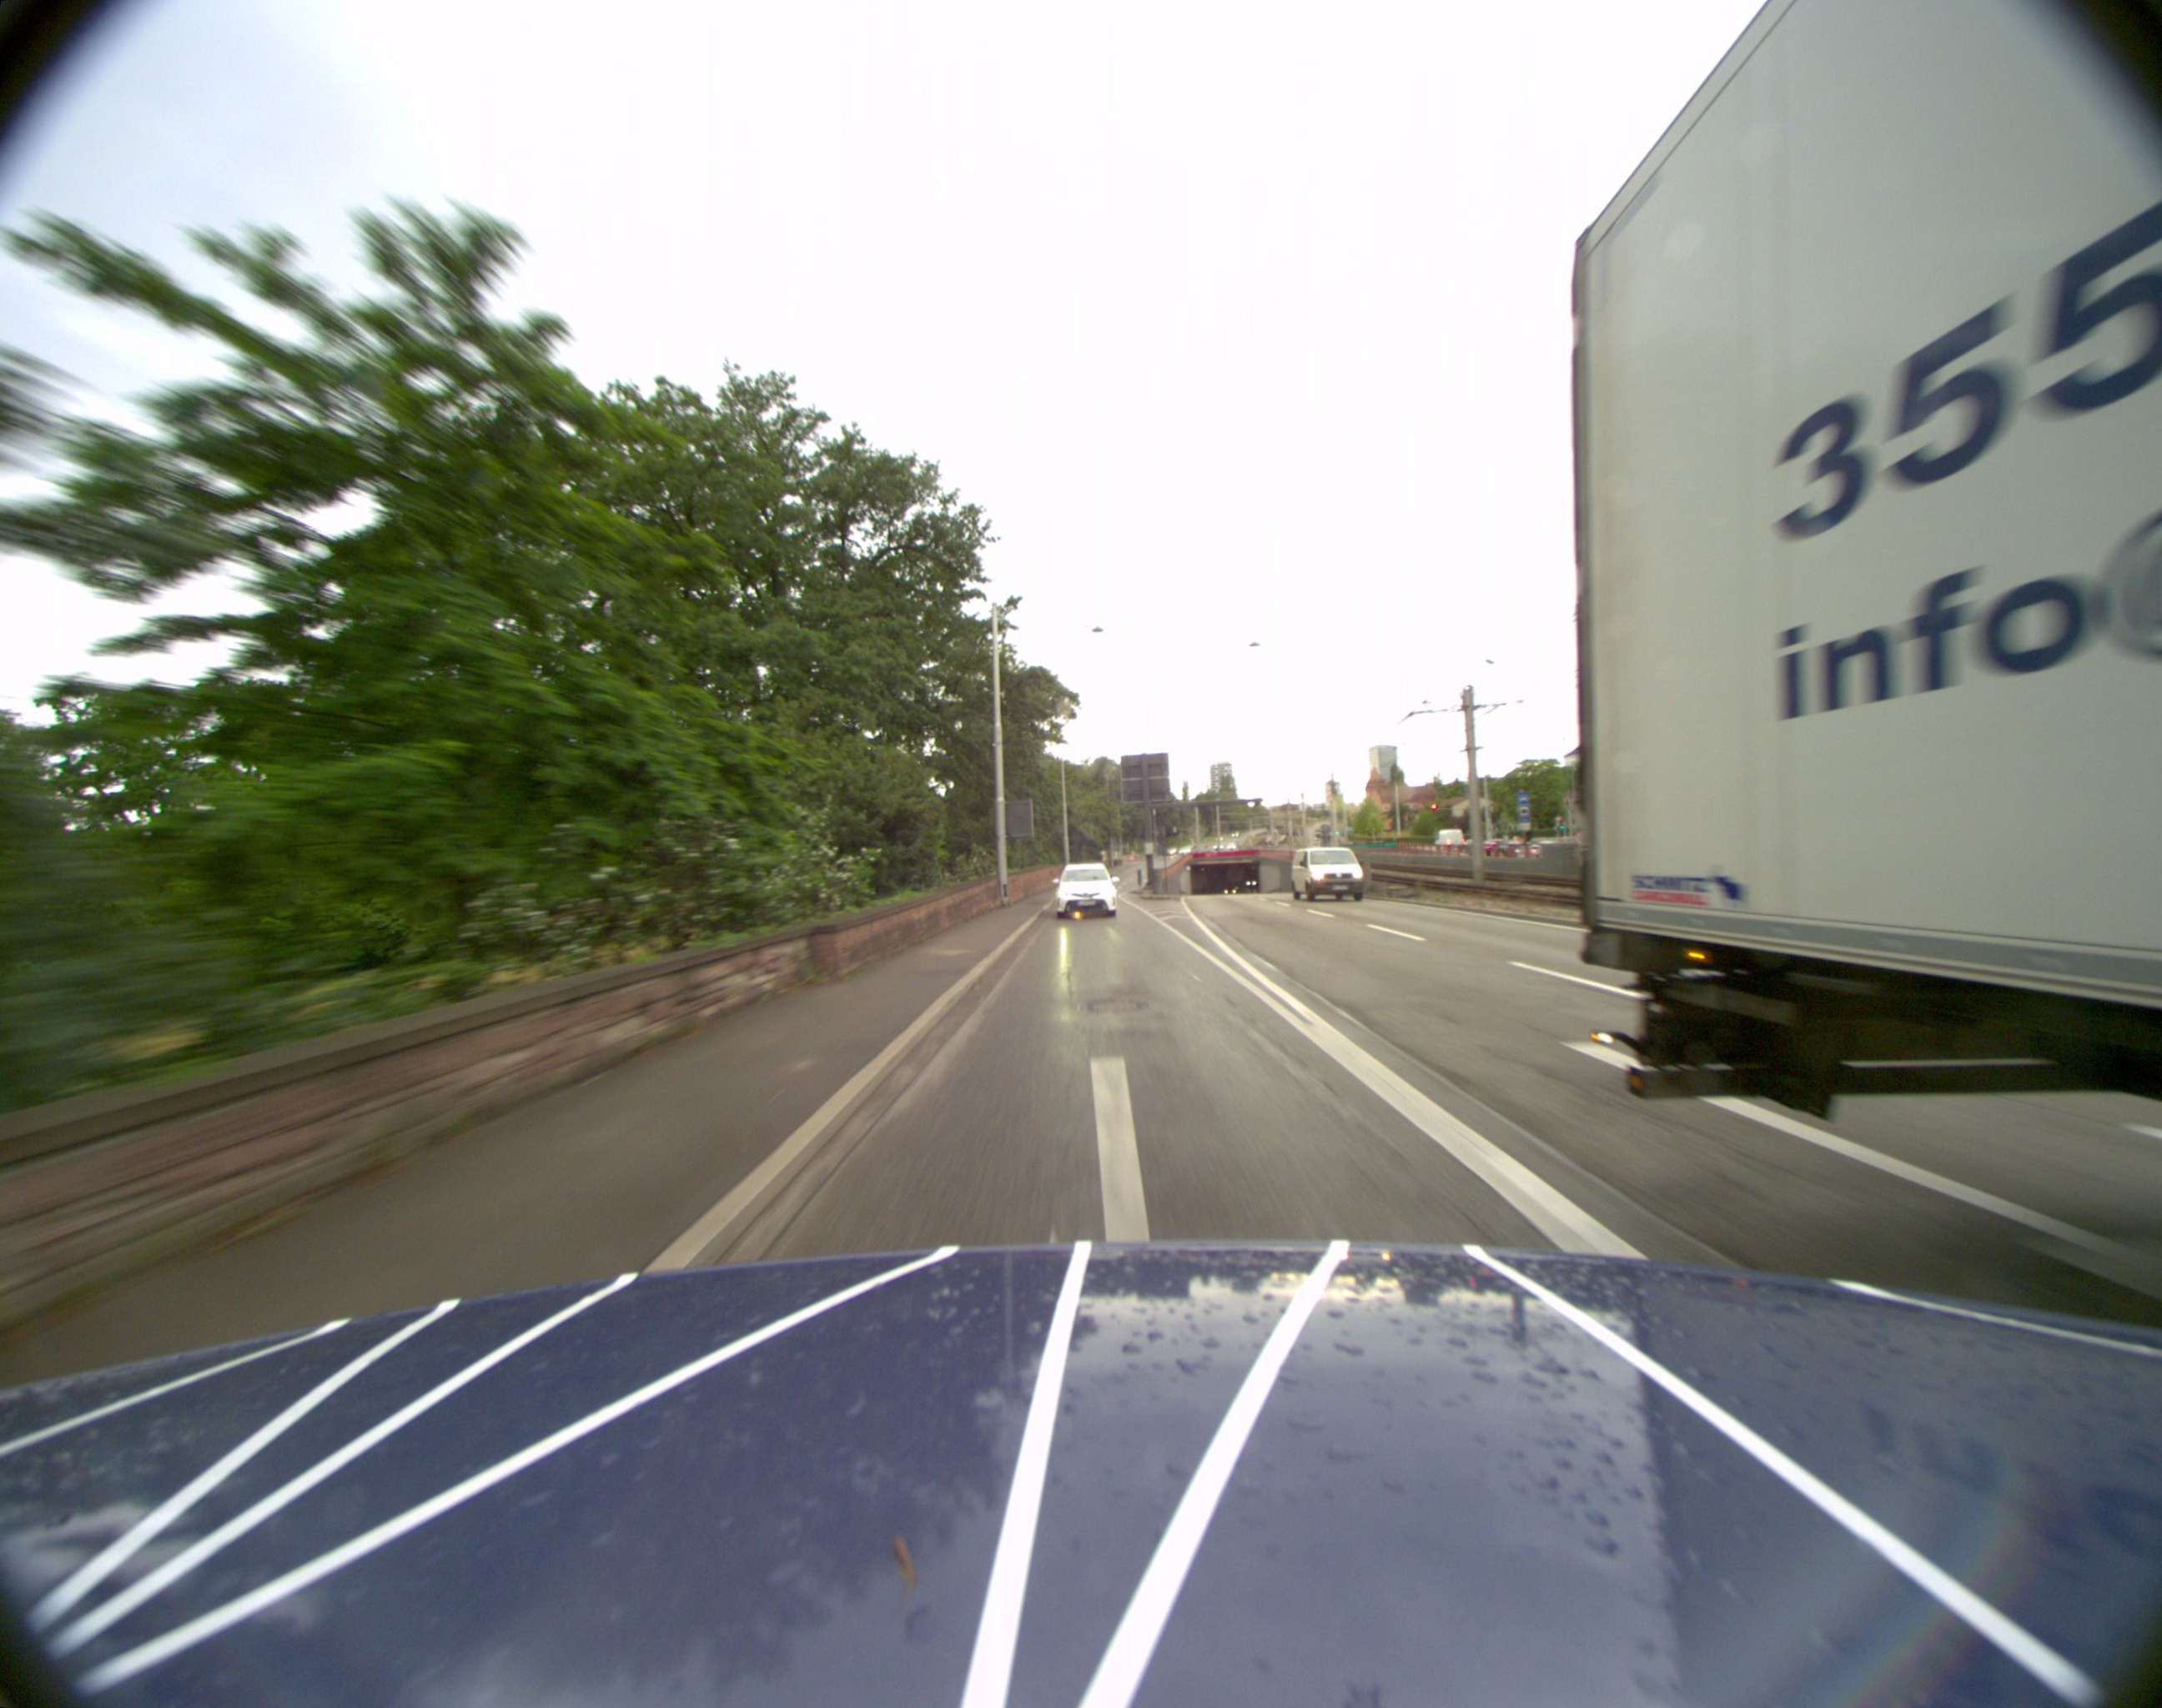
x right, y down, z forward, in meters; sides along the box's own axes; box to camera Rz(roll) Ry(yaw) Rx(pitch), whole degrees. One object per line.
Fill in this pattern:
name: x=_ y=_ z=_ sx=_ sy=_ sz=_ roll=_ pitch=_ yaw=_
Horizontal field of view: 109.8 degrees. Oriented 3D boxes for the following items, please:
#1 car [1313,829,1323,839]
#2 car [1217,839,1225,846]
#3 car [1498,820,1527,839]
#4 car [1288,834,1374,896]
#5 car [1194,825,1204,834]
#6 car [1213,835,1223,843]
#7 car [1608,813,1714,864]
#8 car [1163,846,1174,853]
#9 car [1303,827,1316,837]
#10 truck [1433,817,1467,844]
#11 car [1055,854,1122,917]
car: x=56.192 y=-4.706 z=180.149 sx=1.996 sy=2.003 sz=4.002 roll=-3 pitch=4 yaw=16
car: x=34.814 y=-2.826 z=188.465 sx=1.800 sy=1.463 sz=4.002 roll=-3 pitch=2 yaw=12
car: x=51.781 y=-2.999 z=91.323 sx=1.996 sy=2.003 sz=4.205 roll=-3 pitch=4 yaw=15
car: x=9.167 y=0.489 z=28.286 sx=1.998 sy=2.014 sz=4.690 roll=-3 pitch=-3 yaw=5
car: x=24.509 y=-5.040 z=157.365 sx=1.800 sy=1.502 sz=4.003 roll=-3 pitch=-1 yaw=11
car: x=33.917 y=-3.672 z=187.743 sx=1.736 sy=1.579 sz=4.003 roll=-3 pitch=3 yaw=20
car: x=27.251 y=-0.763 z=35.933 sx=1.997 sy=2.106 sz=5.114 roll=-4 pitch=1 yaw=13
car: x=19.269 y=-1.012 z=166.587 sx=1.887 sy=1.462 sz=4.013 roll=-3 pitch=-1 yaw=12
car: x=51.287 y=-4.932 z=170.458 sx=1.995 sy=2.003 sz=4.004 roll=-2 pitch=4 yaw=25
truck: x=47.486 y=-3.055 z=98.008 sx=1.998 sy=3.169 sz=5.284 roll=-4 pitch=4 yaw=4
car: x=0.197 y=0.953 z=24.672 sx=1.856 sy=1.741 sz=4.000 roll=-5 pitch=0 yaw=-1
